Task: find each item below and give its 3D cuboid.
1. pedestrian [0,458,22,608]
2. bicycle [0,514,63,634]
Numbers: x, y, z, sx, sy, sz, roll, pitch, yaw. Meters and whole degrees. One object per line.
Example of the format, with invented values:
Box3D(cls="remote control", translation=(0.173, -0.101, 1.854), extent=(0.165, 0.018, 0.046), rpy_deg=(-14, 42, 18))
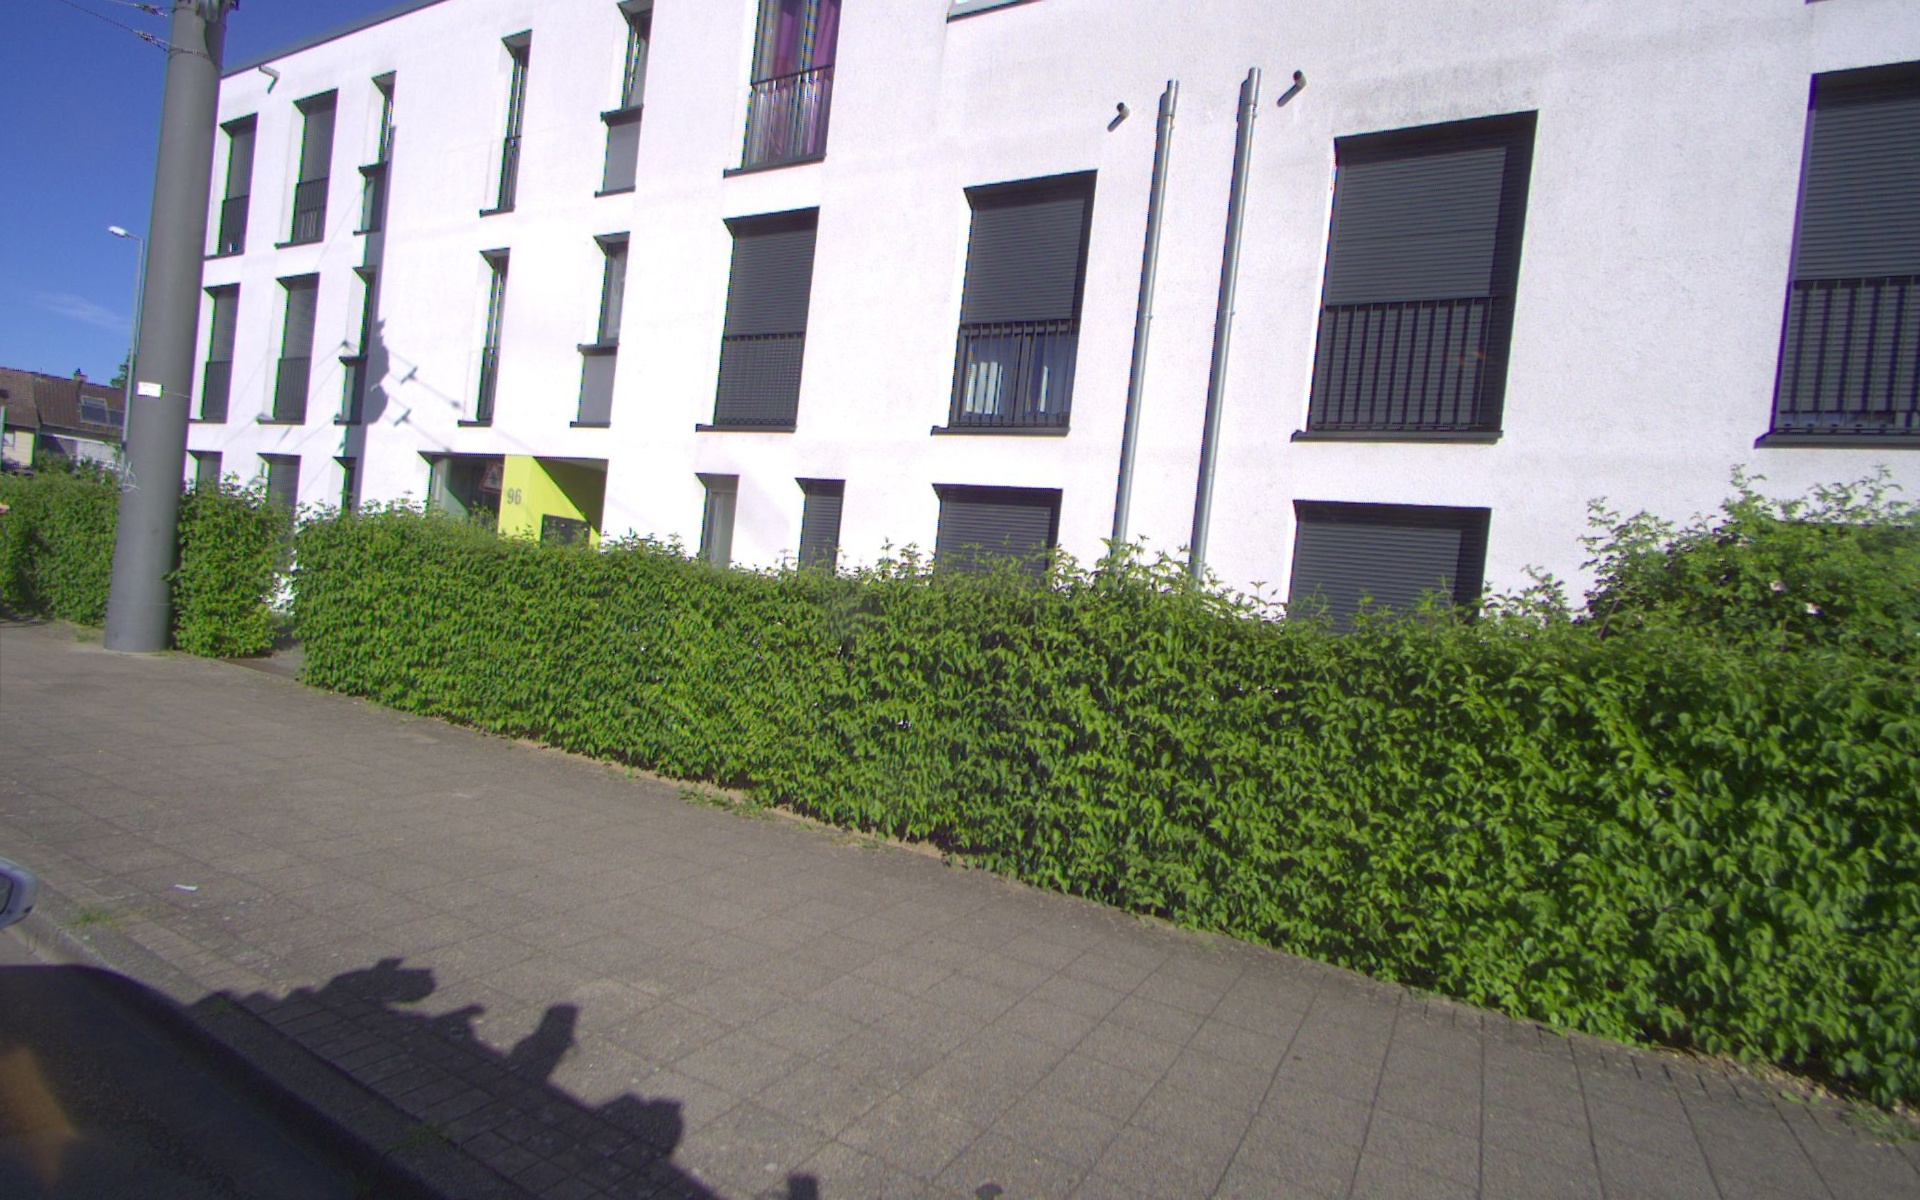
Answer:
Box3D(cls="pedestrian", translation=(-10.844, -0.777, 10.709), extent=(0.839, 1.614, 0.912), rpy_deg=(6, 1, 24))
Box3D(cls="bicycle", translation=(-11.088, -0.408, 10.818), extent=(3.069, 1.188, 0.931), rpy_deg=(6, 1, 24))
